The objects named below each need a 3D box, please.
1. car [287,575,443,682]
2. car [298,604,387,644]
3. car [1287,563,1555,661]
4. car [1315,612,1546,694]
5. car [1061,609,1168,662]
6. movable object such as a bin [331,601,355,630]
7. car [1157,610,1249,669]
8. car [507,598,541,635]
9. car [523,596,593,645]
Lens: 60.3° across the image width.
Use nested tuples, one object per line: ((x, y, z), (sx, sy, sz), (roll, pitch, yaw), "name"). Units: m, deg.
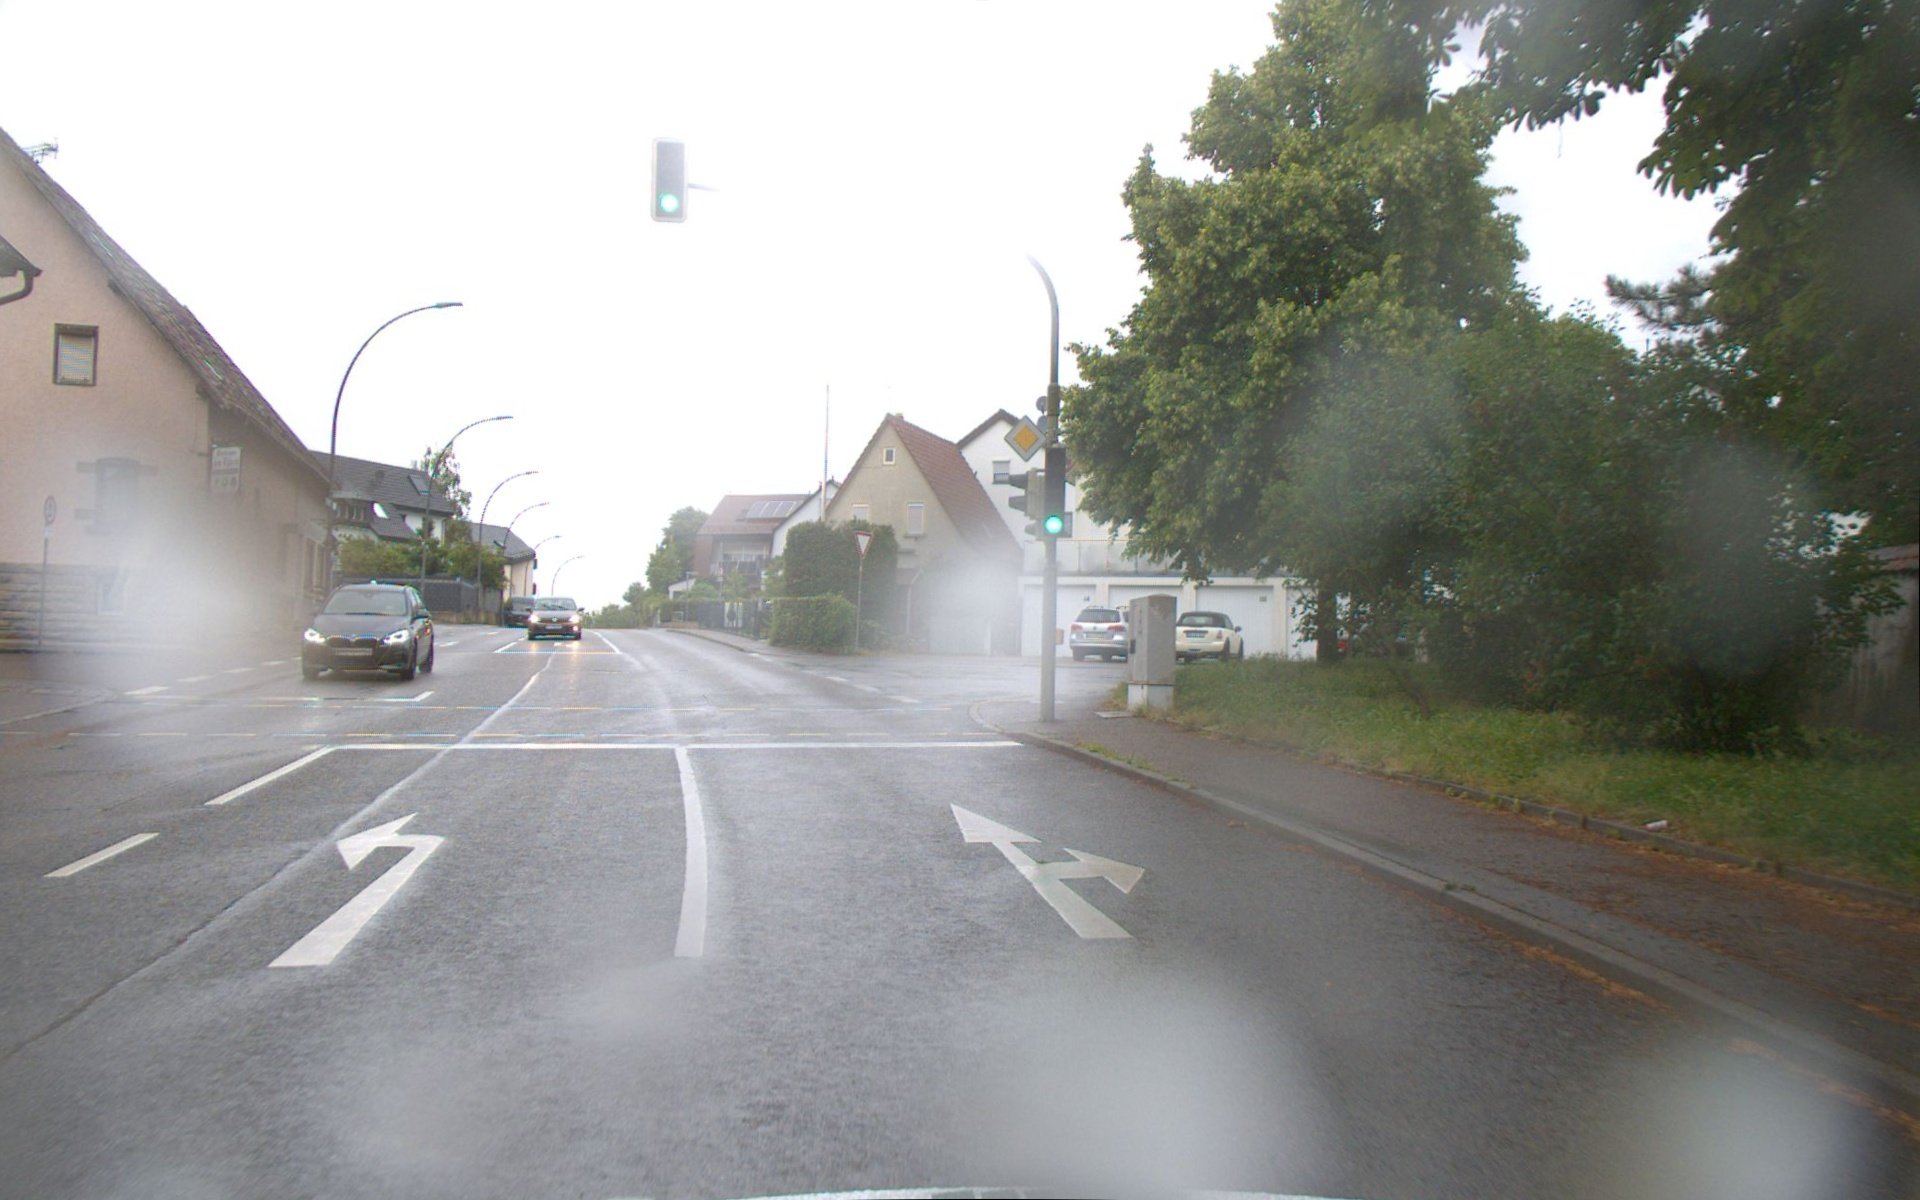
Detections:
((-10.267, 0.468, 28.824), (1.958, 1.736, 3.989), (1, 0, -11), "car")
((-24.965, 0.947, 66.957), (1.861, 1.467, 3.830), (3, 0, 4), "car")
((7.210, 0.190, 26.231), (3.902, 1.481, 1.856), (0, -1, 10), "car")
((9.338, 1.030, 33.044), (4.088, 1.467, 1.833), (2, 0, 1), "car")
((4.407, 0.968, 46.704), (1.952, 1.422, 4.150), (0, 0, 21), "car")
((-22.872, 0.579, 61.303), (0.625, 1.050, 0.673), (0, -1, 0), "movable object such as a bin")
((6.804, 1.062, 46.032), (1.951, 1.557, 4.002), (0, 0, 17), "car")
((-34.506, 1.348, 131.100), (2.057, 2.696, 5.902), (3, -3, -11), "car")
((-13.701, 0.672, 56.225), (1.914, 1.601, 4.203), (1, 0, -19), "car")
